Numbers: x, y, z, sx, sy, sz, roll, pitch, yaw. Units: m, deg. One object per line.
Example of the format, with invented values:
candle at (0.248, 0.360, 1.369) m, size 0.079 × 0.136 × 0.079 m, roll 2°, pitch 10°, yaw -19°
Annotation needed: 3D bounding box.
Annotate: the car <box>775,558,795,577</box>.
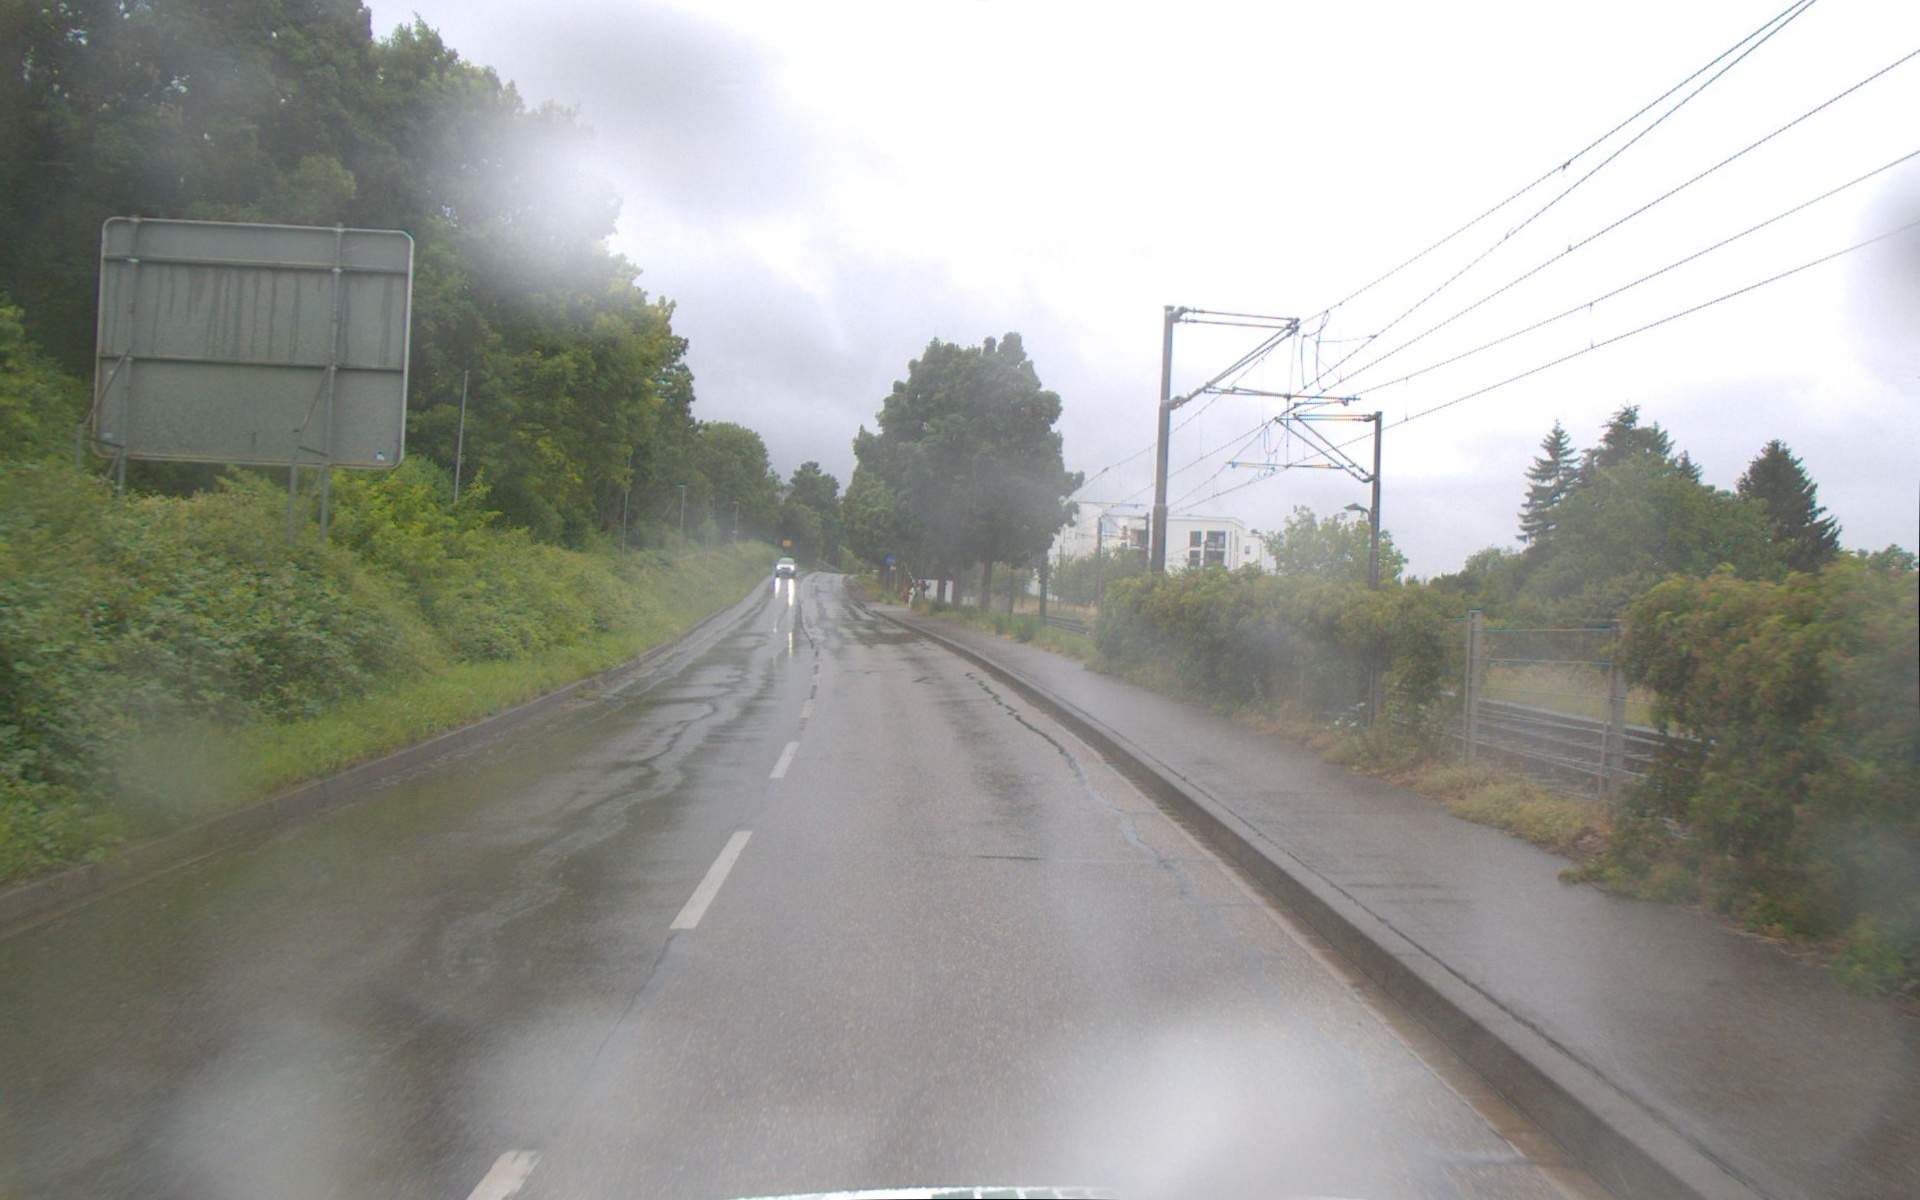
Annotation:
car at (-16.110, -2.991, 152.603) m, size 1.711 × 1.639 × 4.083 m, roll 3°, pitch 1°, yaw -6°
